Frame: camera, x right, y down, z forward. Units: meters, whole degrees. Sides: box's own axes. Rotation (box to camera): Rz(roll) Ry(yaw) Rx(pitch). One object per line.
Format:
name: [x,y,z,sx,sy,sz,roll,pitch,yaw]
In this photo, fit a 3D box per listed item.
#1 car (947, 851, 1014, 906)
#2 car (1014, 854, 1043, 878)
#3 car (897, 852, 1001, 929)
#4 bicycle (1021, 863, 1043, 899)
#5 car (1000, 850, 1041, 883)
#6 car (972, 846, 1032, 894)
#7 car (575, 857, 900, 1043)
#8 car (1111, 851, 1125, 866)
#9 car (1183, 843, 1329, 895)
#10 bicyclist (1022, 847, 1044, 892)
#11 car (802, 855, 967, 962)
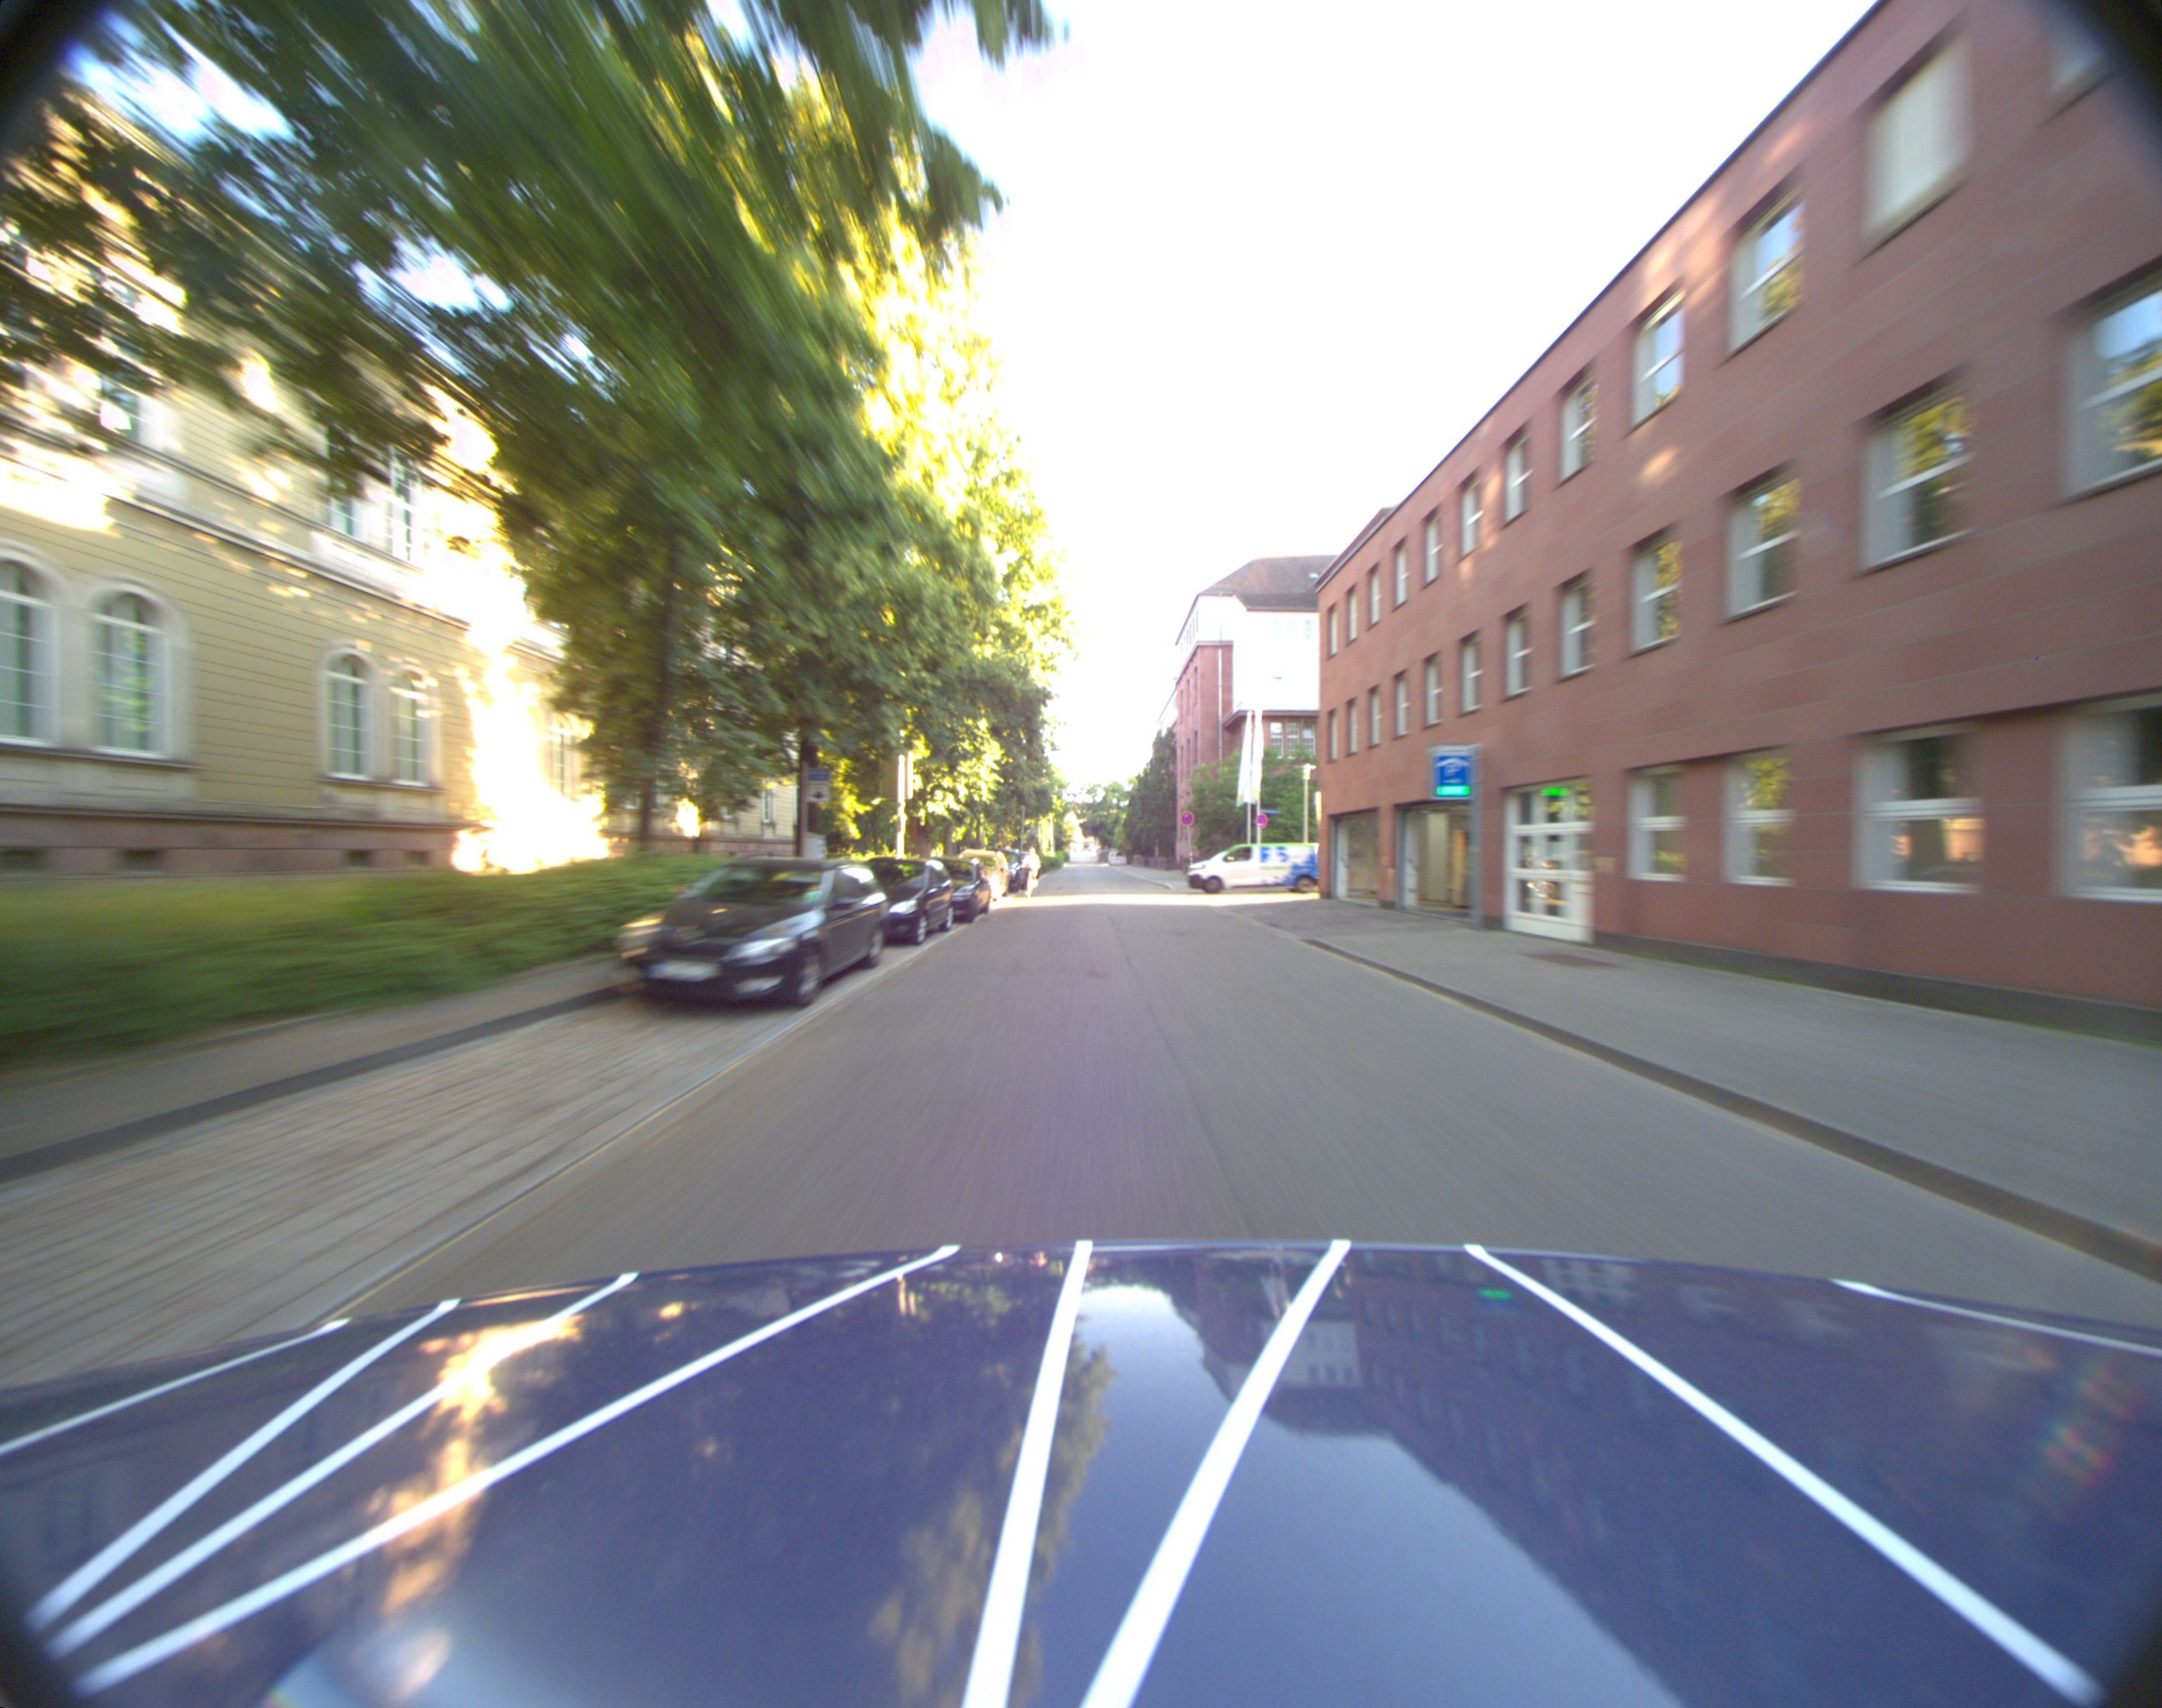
car: [-3.395,0.761,26.342,1.728,1.673,4.498,1,1,0]
car: [-3.332,0.755,49.040,1.728,1.430,3.998,1,1,-2]
car: [-3.189,0.803,19.253,1.728,1.525,4.622,5,1,0]
bicycle: [-1.748,0.949,27.353,0.753,1.245,2.209,1,0,-2]
car: [-3.357,0.658,42.816,1.886,1.678,4.694,1,1,0]
car: [-3.233,0.596,32.037,1.809,1.803,4.947,1,1,3]
car: [-3.505,0.845,8.833,1.739,1.498,4.521,1,1,0]
car: [5.262,0.636,108.466,1.886,2.040,4.324,1,1,0]
car: [6.469,0.568,28.564,5.103,1.863,2.001,0,-1,4]
bicyclist: [-1.722,0.548,27.369,0.753,1.603,1.038,1,0,-2]
car: [-3.442,0.865,14.159,1.728,1.525,4.189,4,1,3]
